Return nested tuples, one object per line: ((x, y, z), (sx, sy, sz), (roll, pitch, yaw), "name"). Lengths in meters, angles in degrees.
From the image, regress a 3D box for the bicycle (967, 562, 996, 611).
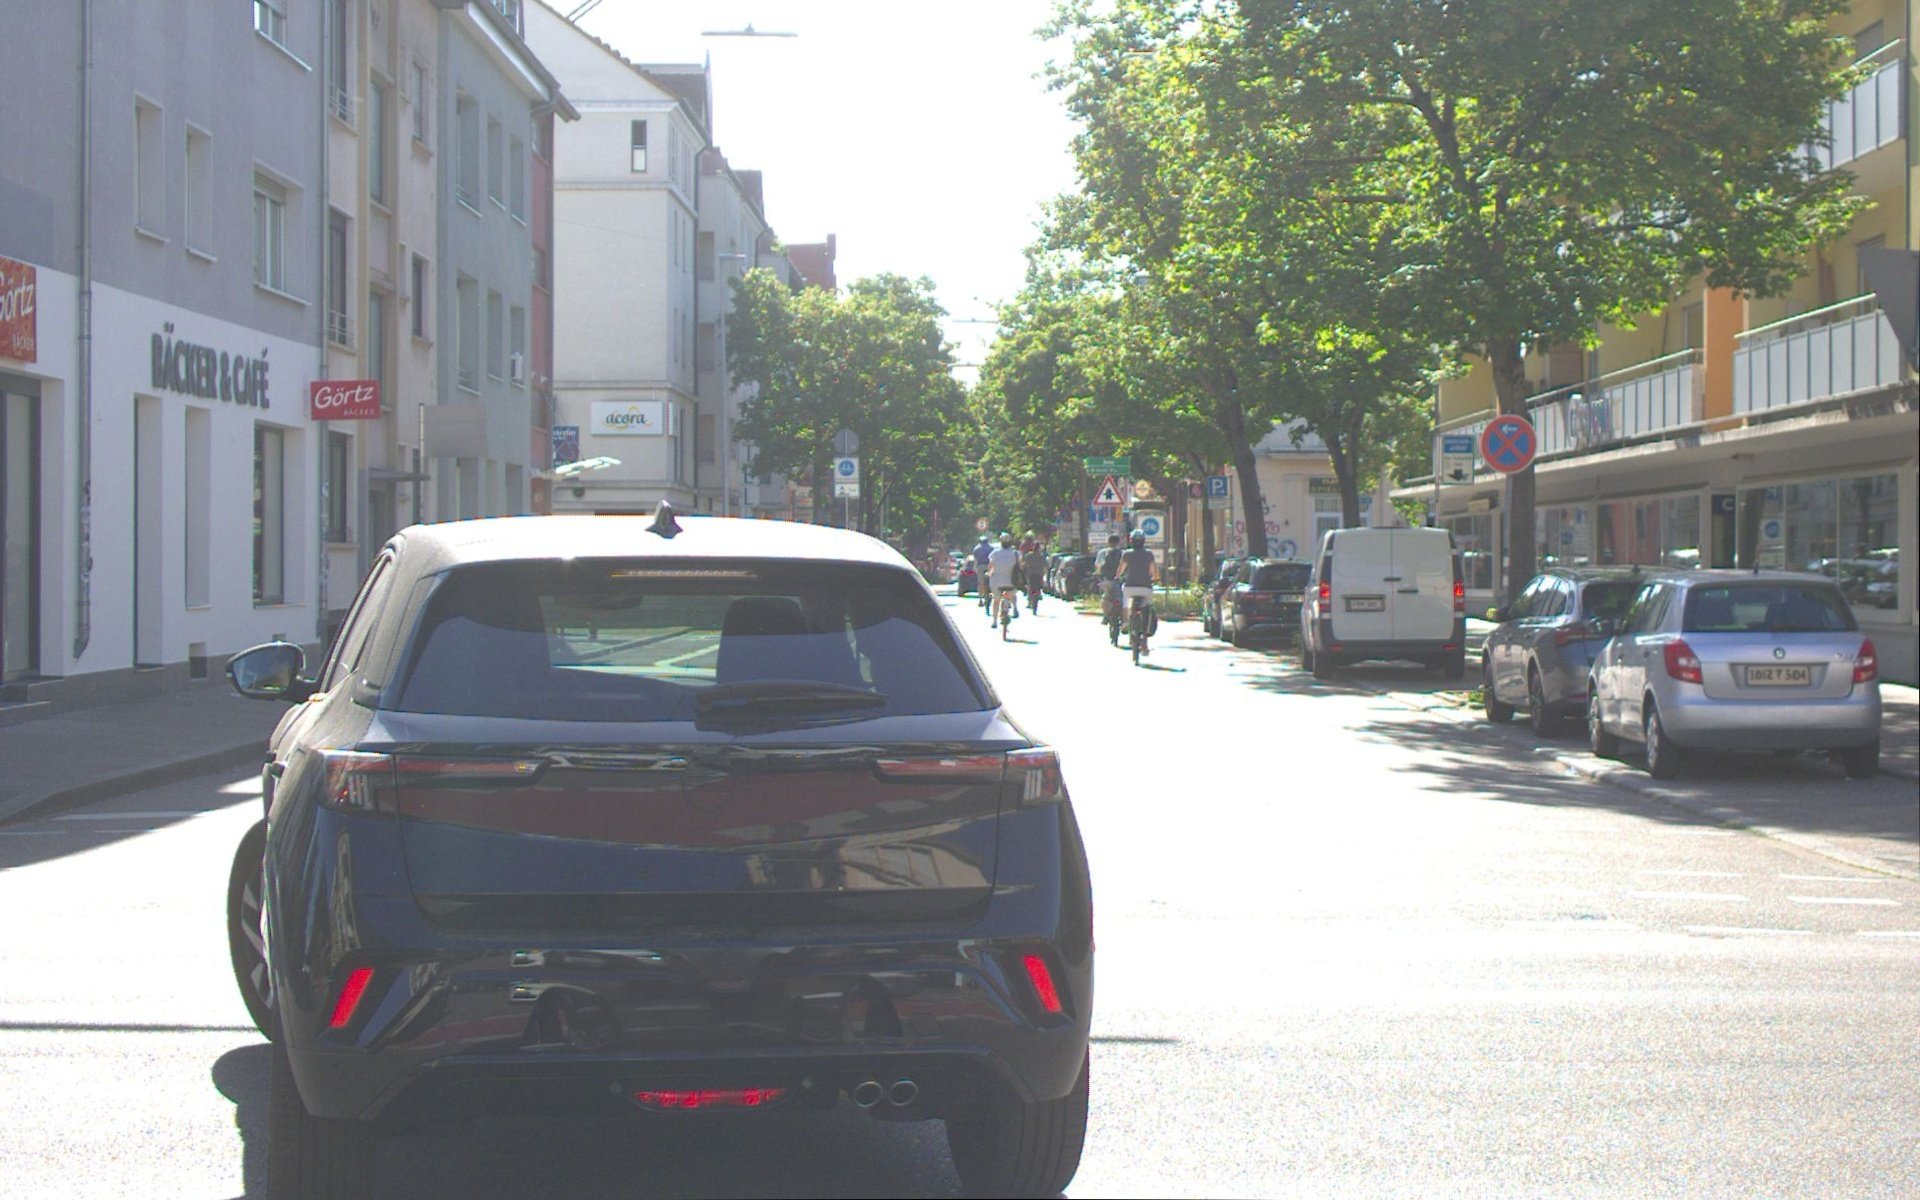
((0.470, -0.304, 75.540), (0.632, 1.038, 1.795), (0, 1, 0), "bicycle")

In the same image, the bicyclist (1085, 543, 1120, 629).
((2.294, -0.231, 55.452), (0.547, 1.378, 0.823), (0, 1, 1), "bicyclist")

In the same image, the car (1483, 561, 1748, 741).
((5.745, 0.404, 30.489), (1.712, 1.478, 3.381), (0, 1, 0), "car")

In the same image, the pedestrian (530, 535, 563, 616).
((-7.480, -0.448, 62.214), (0.577, 1.462, 0.703), (0, 1, -5), "pedestrian")

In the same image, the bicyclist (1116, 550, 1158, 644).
((2.421, -0.046, 47.033), (0.547, 1.257, 0.803), (0, 1, 1), "bicyclist")

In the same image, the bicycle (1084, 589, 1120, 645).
((2.300, 0.261, 55.745), (0.547, 0.863, 1.876), (0, 1, 1), "bicycle")

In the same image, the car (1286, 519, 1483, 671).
((5.398, -0.098, 44.235), (2.046, 1.840, 4.584), (0, 1, 1), "car")

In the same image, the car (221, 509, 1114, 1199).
((-0.972, 0.582, 8.741), (1.762, 1.553, 4.001), (0, 1, -12), "car")

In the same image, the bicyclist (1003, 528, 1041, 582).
((1.531, -1.118, 85.265), (0.856, 1.310, 1.210), (2, 1, 0), "bicyclist")

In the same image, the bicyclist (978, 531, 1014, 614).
((0.613, -0.468, 58.091), (0.588, 1.378, 0.823), (0, 1, 1), "bicyclist")

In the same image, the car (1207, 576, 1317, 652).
((5.469, 0.240, 62.509), (1.712, 1.310, 3.381), (0, 1, 0), "car")

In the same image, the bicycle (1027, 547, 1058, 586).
((1.824, -0.749, 76.119), (0.691, 0.863, 1.876), (0, 1, 1), "bicycle")

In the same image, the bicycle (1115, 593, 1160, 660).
((2.424, 0.354, 47.073), (0.547, 0.863, 1.876), (0, 1, 1), "bicycle")

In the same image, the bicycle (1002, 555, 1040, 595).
((1.510, -0.631, 85.248), (0.856, 0.942, 2.307), (2, 1, 0), "bicycle")

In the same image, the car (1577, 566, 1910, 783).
((5.780, 0.502, 25.742), (1.712, 1.478, 3.480), (0, 1, 0), "car")

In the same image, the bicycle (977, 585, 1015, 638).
((0.612, 0.186, 58.048), (0.620, 0.863, 1.876), (0, 1, 1), "bicycle")

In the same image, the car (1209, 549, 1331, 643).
((5.084, -0.087, 56.705), (1.712, 1.478, 3.381), (0, 1, 0), "car")

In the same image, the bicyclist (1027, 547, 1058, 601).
((1.824, -0.588, 76.222), (0.692, 1.189, 0.595), (0, 1, 1), "bicyclist")

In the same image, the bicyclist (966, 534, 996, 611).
((0.459, -0.607, 75.385), (0.632, 1.663, 1.050), (0, 1, 0), "bicyclist")

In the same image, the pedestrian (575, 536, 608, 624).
((-6.626, -0.369, 61.853), (0.577, 1.577, 0.708), (0, 1, -5), "pedestrian")
